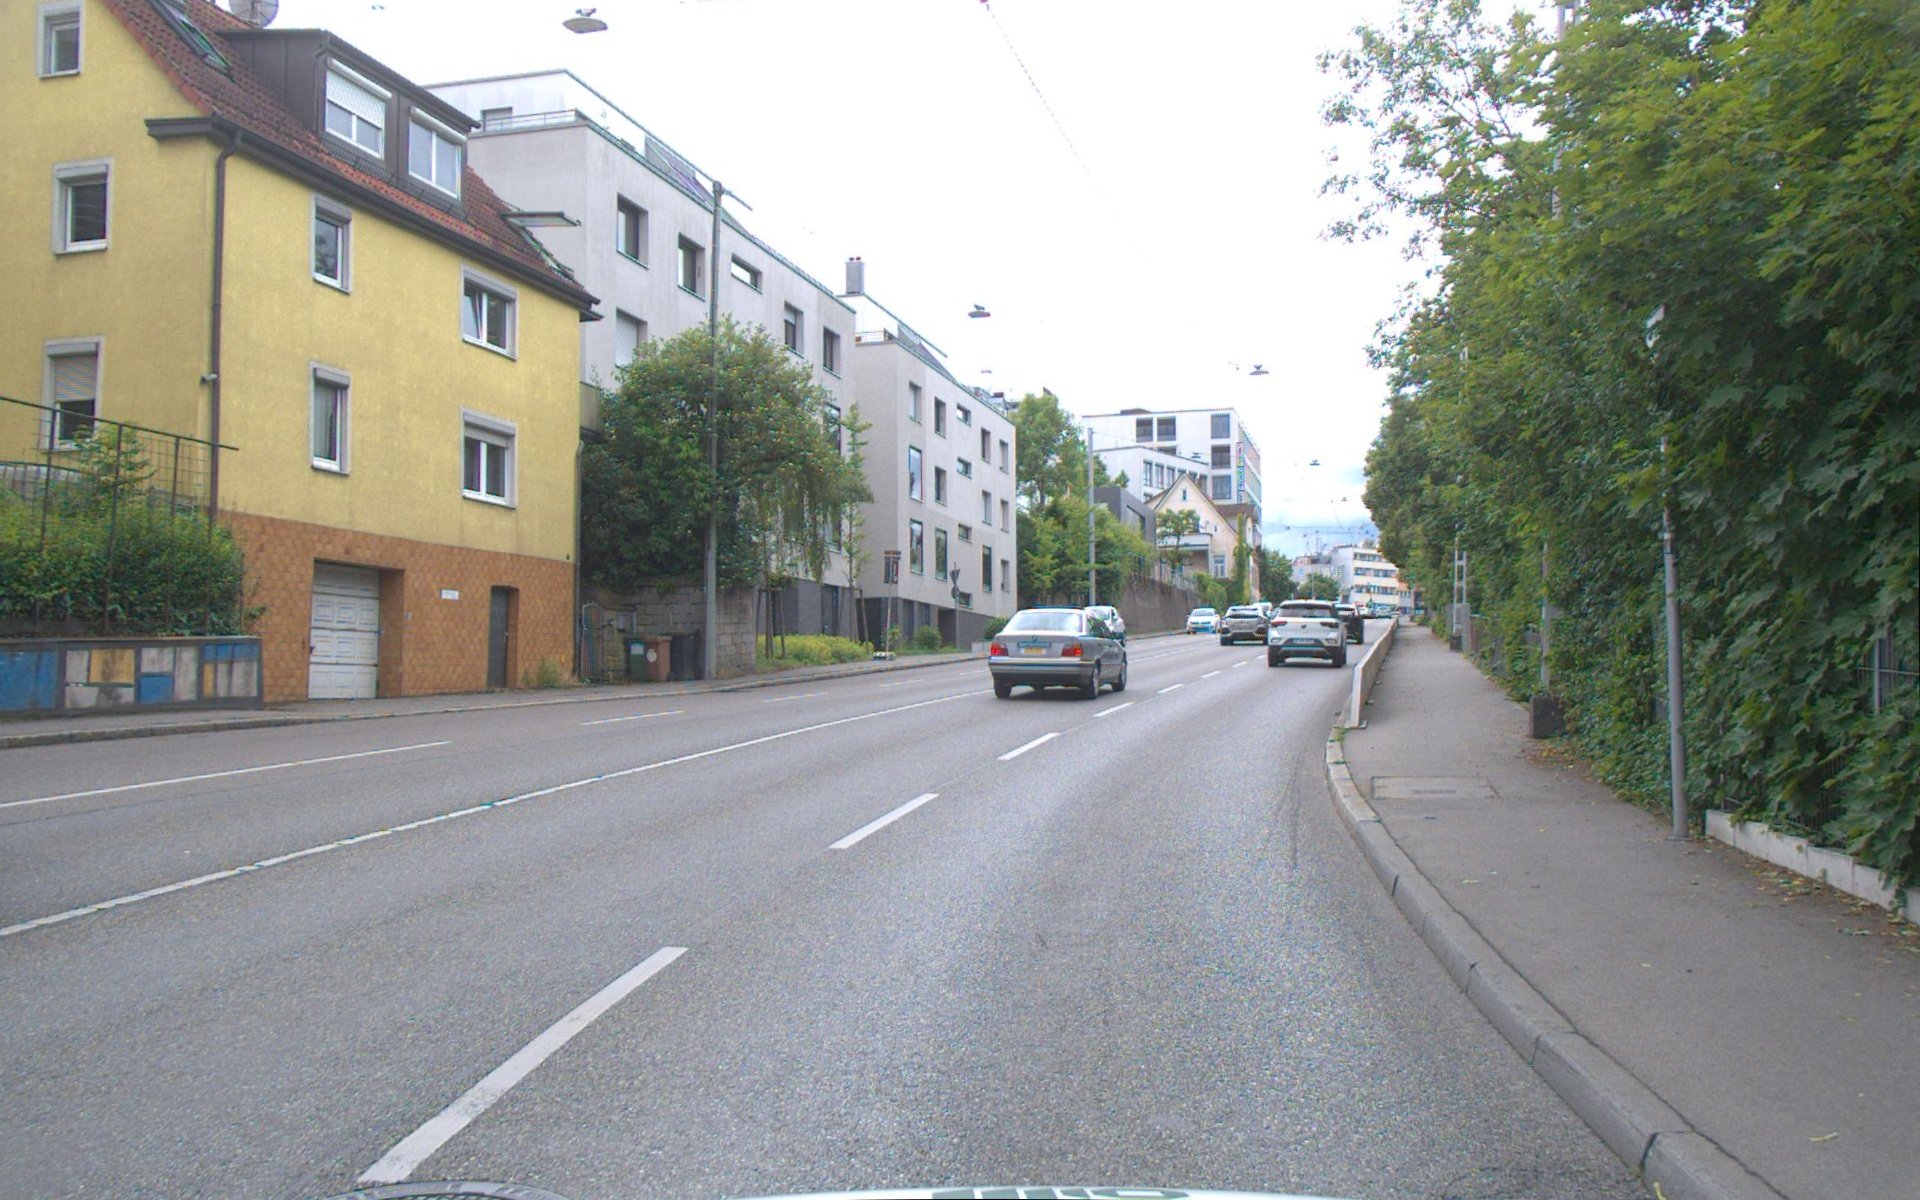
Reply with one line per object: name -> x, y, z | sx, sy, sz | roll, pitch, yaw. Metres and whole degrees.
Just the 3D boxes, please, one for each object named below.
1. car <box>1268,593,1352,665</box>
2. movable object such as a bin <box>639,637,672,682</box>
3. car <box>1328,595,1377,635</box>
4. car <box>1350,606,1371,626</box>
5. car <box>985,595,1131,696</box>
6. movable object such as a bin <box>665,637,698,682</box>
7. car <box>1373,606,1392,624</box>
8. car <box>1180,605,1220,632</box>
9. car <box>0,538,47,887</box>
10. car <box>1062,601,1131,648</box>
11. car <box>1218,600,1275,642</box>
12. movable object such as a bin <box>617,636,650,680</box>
car -> 8.590, 0.696, 40.358 | 1.742, 1.607, 4.002 | 2, -1, 15
movable object such as a bin -> -6.277, 1.220, 34.104 | 0.556, 0.901, 0.610 | 2, -1, -1
car -> 15.402, 0.603, 64.799 | 1.670, 1.490, 4.002 | 2, -1, 15
car -> 42.107, 1.703, 173.753 | 1.951, 2.049, 4.002 | 2, -1, 16
car -> 1.649, 0.720, 26.639 | 1.670, 1.490, 4.003 | 0, -1, 13
movable object such as a bin -> -5.790, 1.237, 34.380 | 0.556, 0.901, 0.610 | 2, -1, -1
car -> 49.328, 1.759, 192.970 | 1.951, 2.049, 4.002 | 2, -1, 16
car -> 14.082, 1.086, 96.894 | 1.735, 1.490, 4.194 | -2, -1, 15
car -> -5.918, 0.527, 6.441 | 1.855, 1.725, 4.351 | 1, 0, 8
car -> 5.119, 0.886, 61.723 | 1.707, 1.642, 4.058 | -3, -1, 16
car -> 10.659, 0.778, 61.400 | 1.670, 1.490, 4.003 | -1, -1, 15
movable object such as a bin -> -6.849, 1.218, 34.731 | 0.556, 0.901, 0.610 | 2, -1, -1
